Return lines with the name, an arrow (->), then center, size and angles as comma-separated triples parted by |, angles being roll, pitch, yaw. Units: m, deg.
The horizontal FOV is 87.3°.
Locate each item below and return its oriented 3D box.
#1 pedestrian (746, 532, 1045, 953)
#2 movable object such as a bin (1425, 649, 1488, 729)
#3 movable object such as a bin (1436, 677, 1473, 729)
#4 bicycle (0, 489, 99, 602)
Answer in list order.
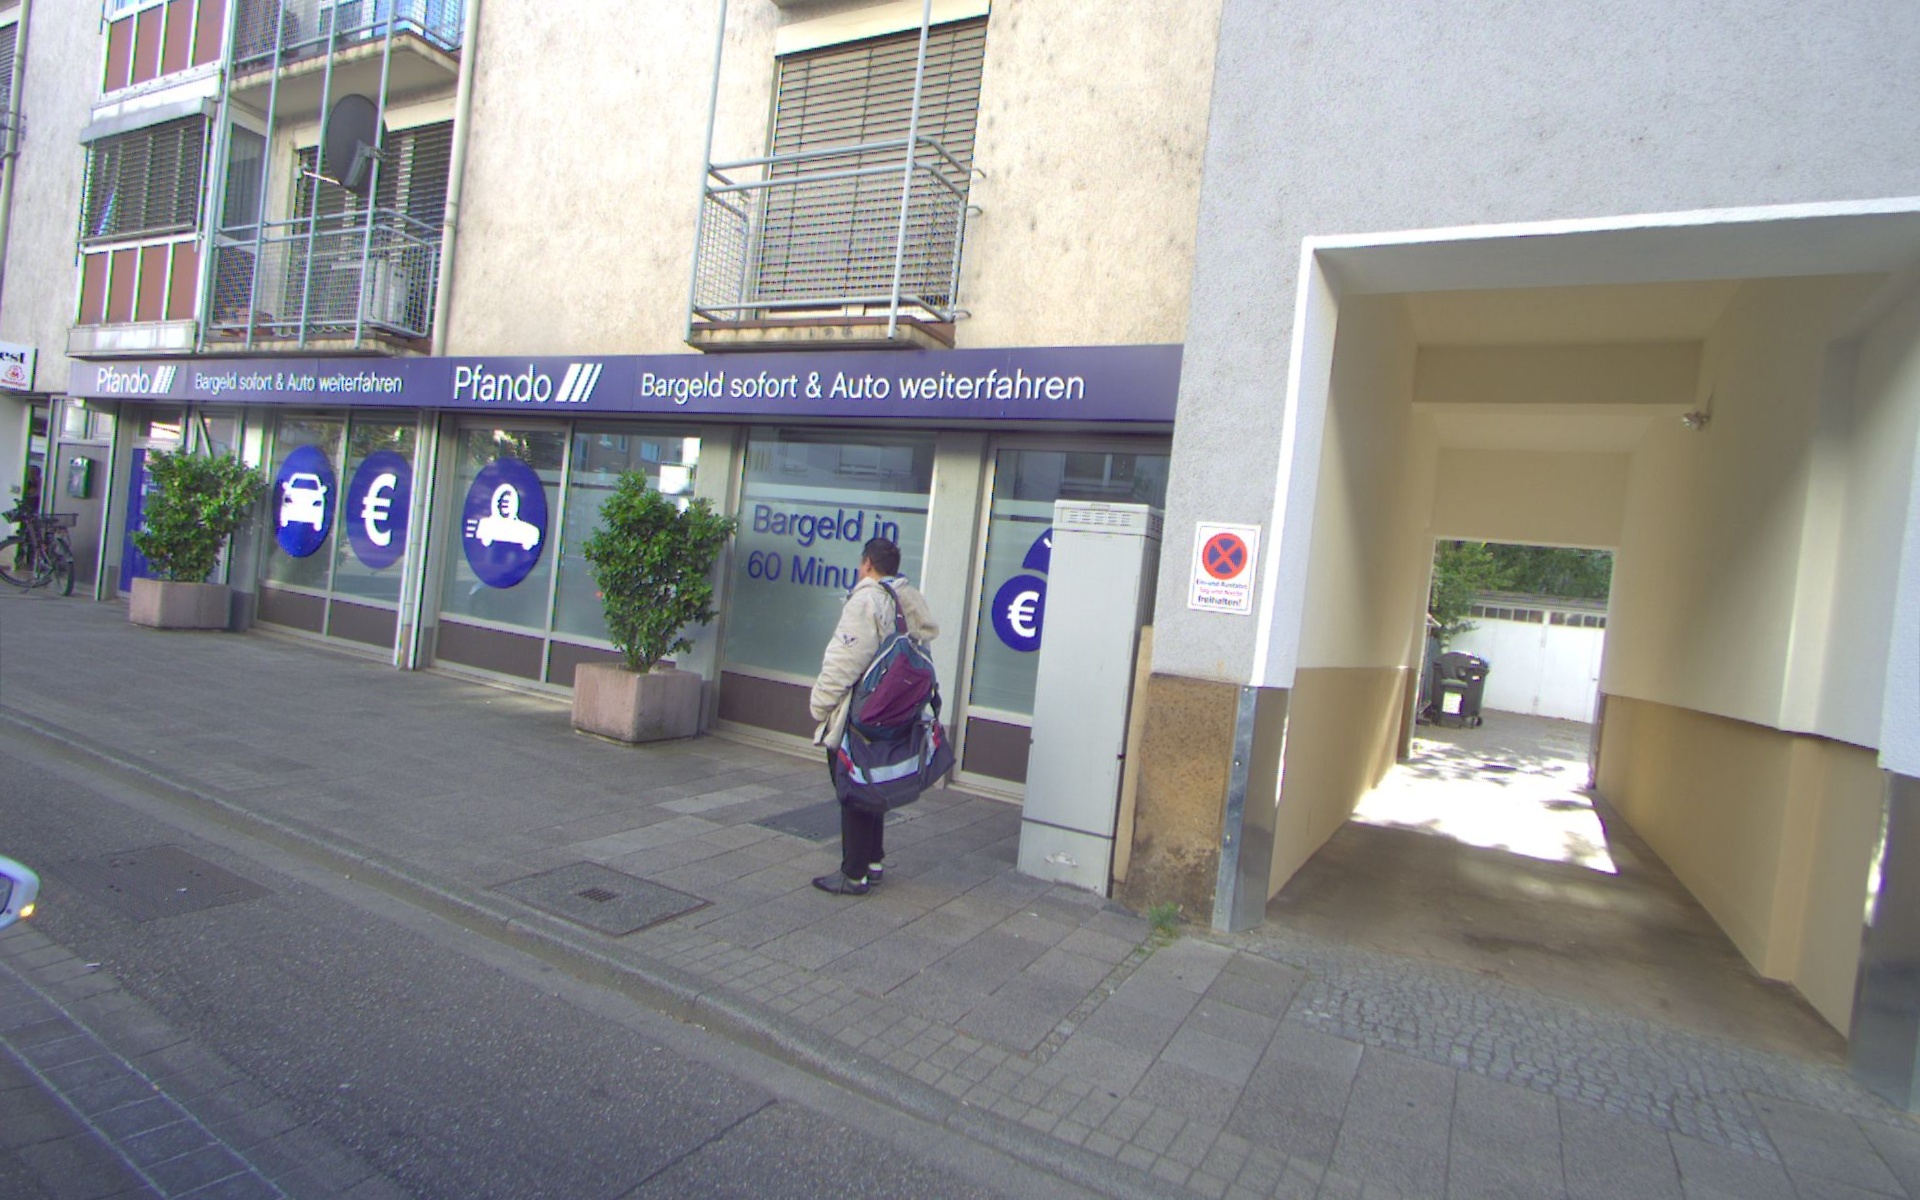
pedestrian -> -0.271, 0.563, 4.516 | 0.853, 1.593, 0.874 | 8, 3, 29
movable object such as a bin -> 10.110, 1.789, 20.456 | 0.945, 1.426, 1.598 | 7, 1, 29
movable object such as a bin -> 9.558, 1.982, 19.452 | 0.518, 0.922, 0.580 | 7, 1, 29
bicycle -> -11.846, -0.727, 12.878 | 1.879, 1.280, 0.640 | 7, 1, 32
